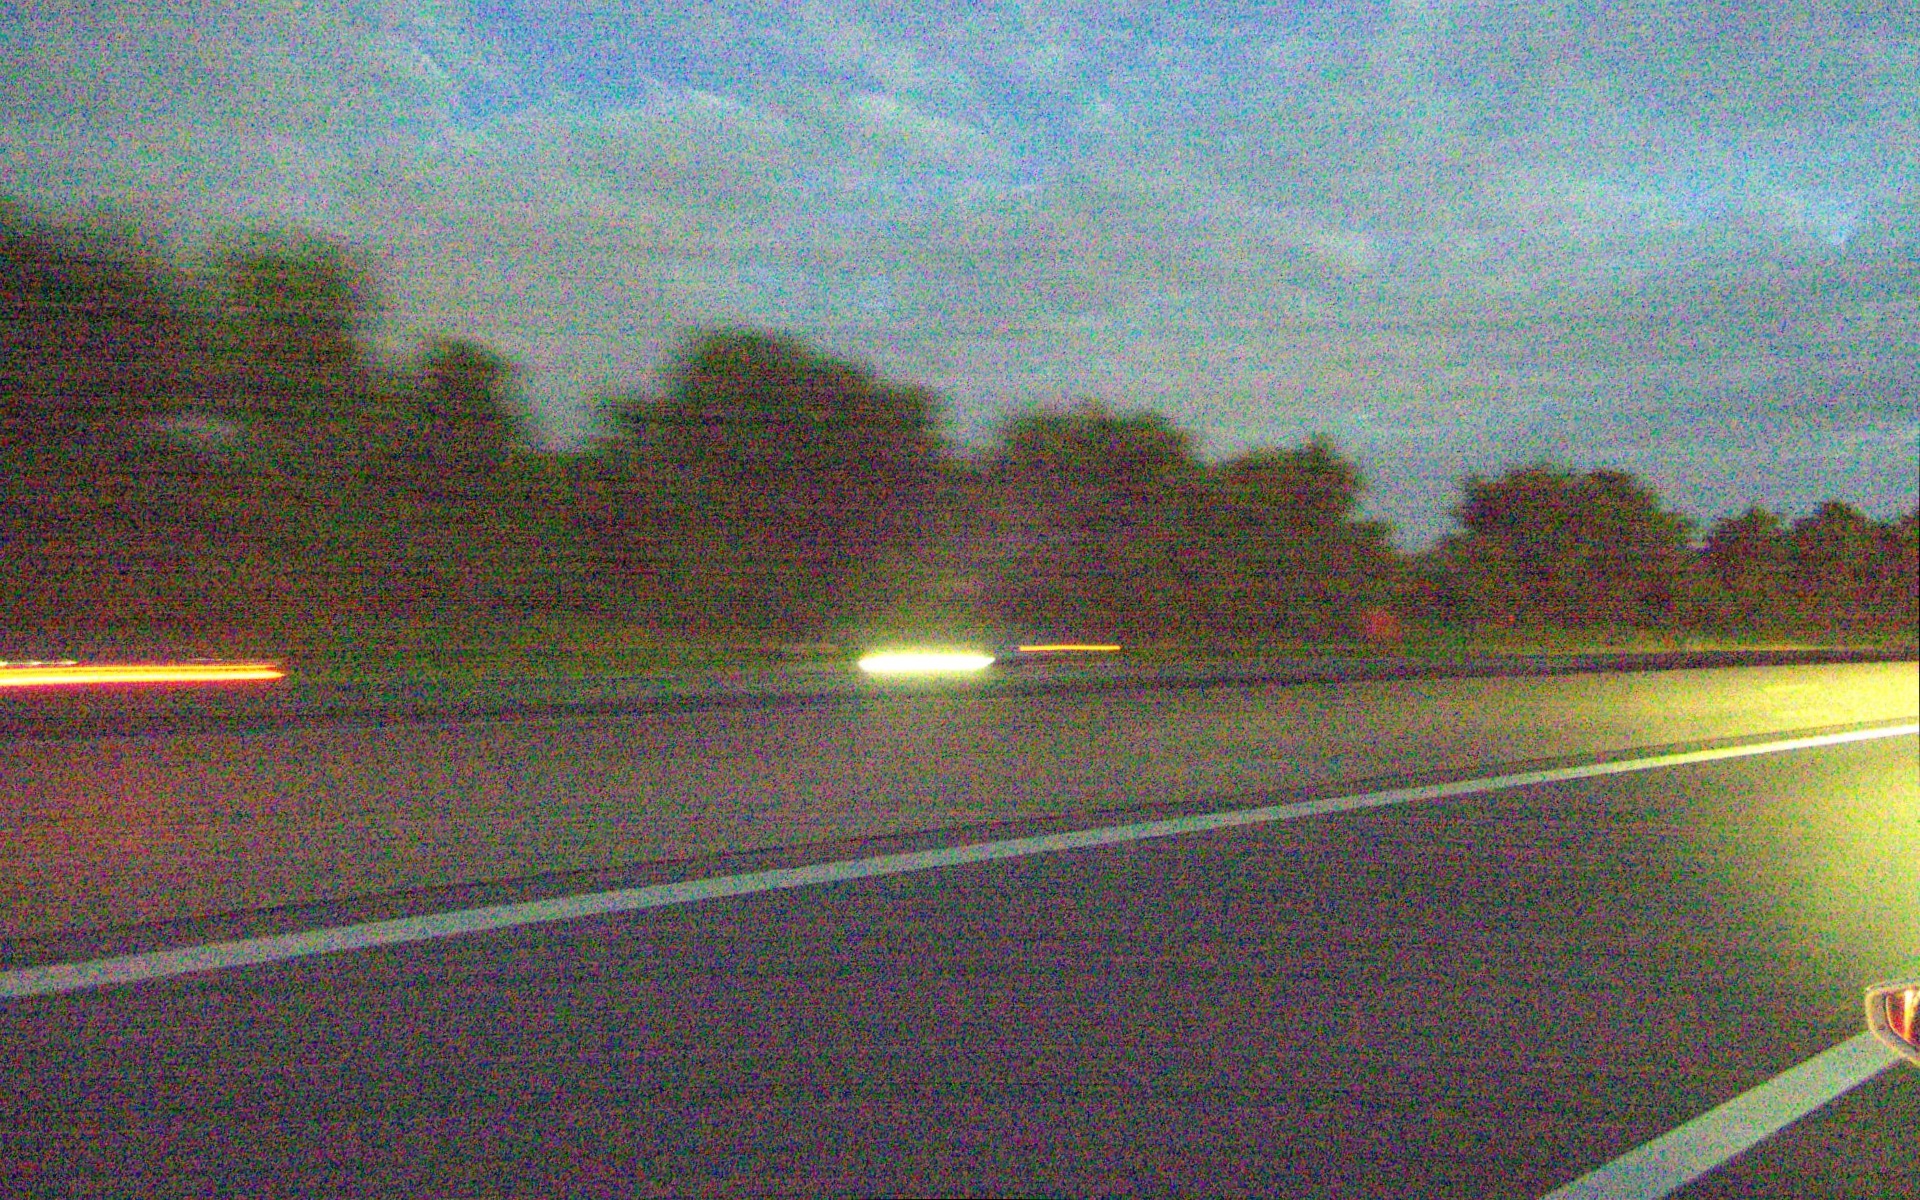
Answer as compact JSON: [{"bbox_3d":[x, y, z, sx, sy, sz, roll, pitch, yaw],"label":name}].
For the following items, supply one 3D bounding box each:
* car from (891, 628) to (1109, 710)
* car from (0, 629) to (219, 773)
[{"bbox_3d":[0.927,1.461,22.416,4.601,1.642,1.894,1,-1,-30],"label":"car"},{"bbox_3d":[-11.137,1.072,11.038,4.601,1.490,1.894,1,-1,-30],"label":"car"}]
